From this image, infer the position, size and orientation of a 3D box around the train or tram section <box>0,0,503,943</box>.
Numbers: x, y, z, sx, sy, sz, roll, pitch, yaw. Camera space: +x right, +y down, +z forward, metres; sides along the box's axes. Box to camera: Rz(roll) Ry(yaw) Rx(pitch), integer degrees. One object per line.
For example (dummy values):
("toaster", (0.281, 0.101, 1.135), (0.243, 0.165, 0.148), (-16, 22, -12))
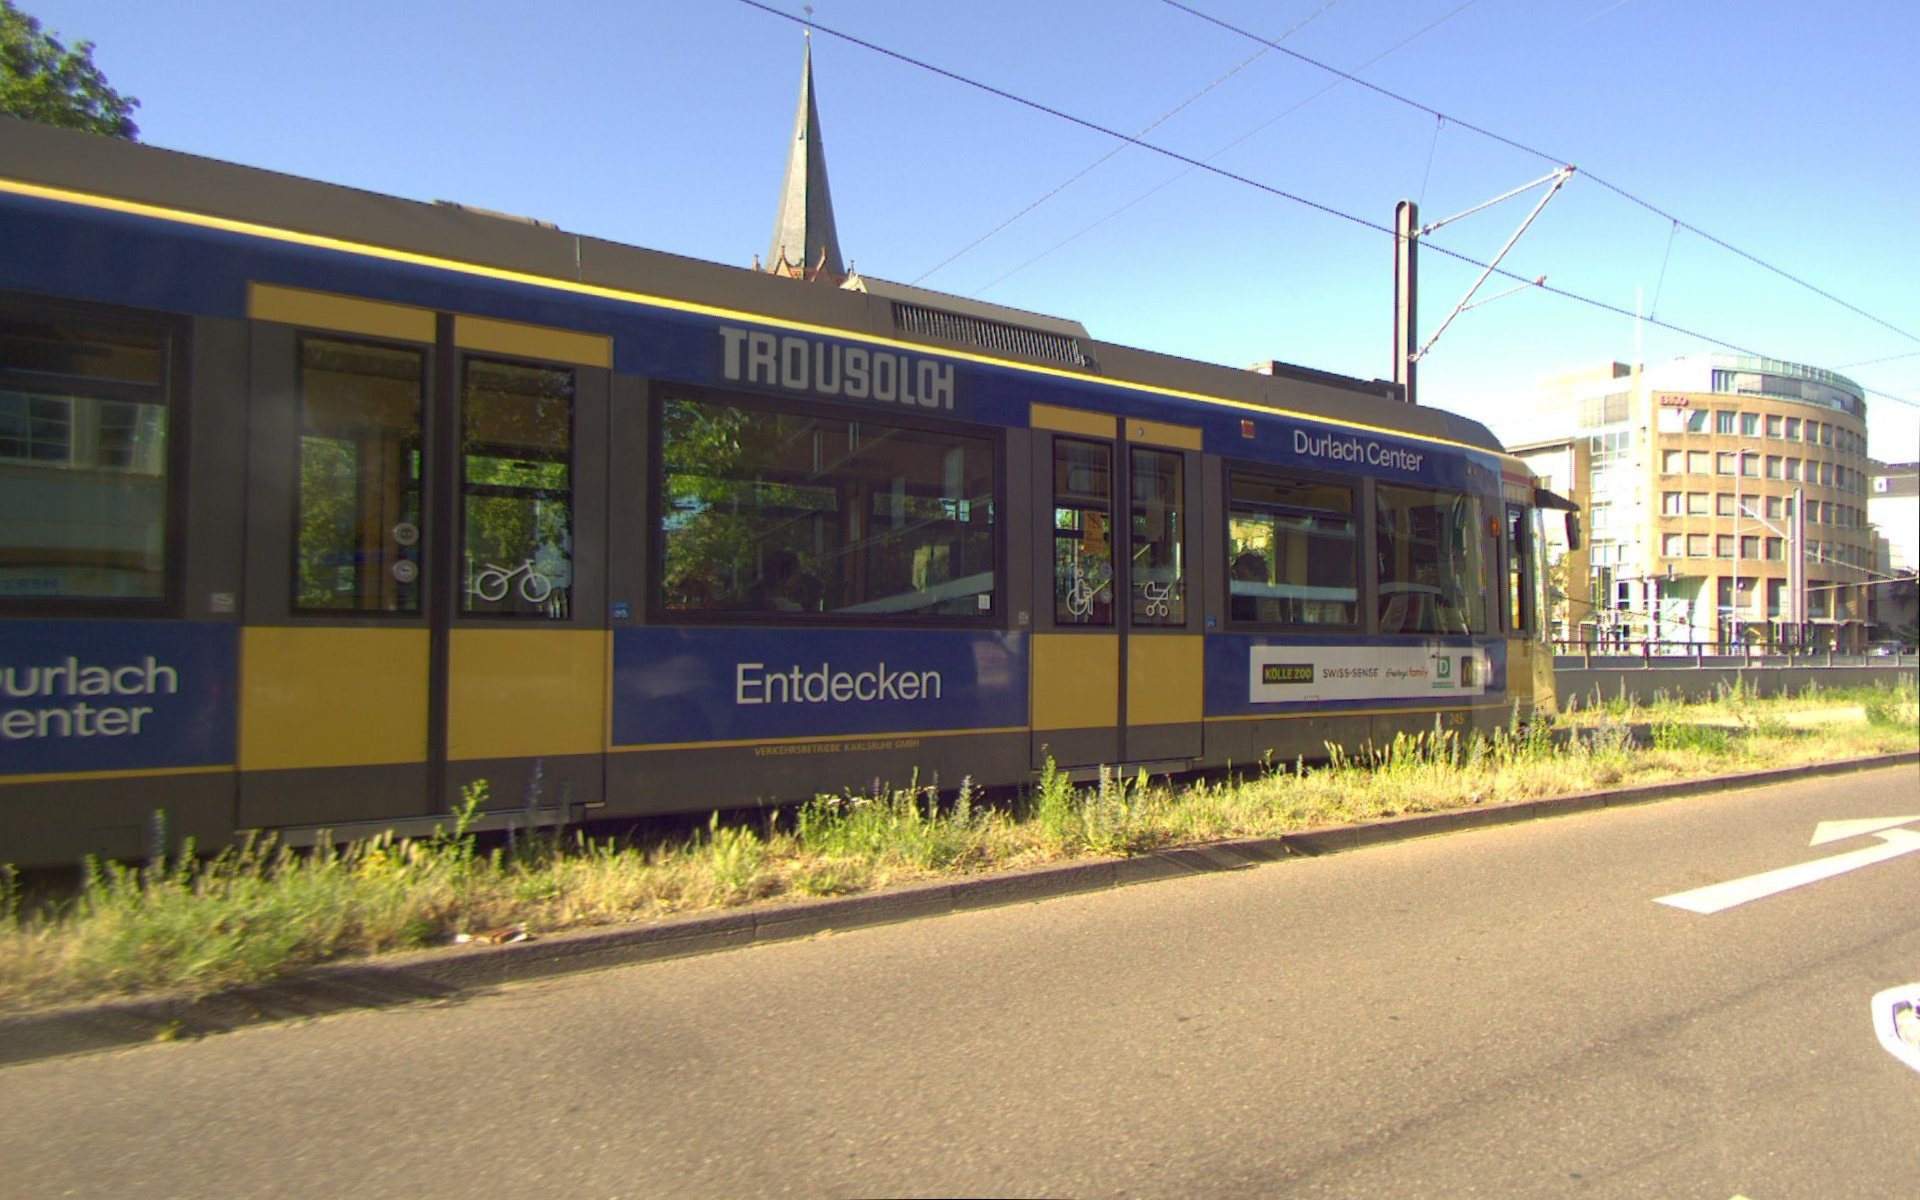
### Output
("train or tram section", (-4.572, -0.688, 5.003), (3.821, 3.949, 2.940), (2, 0, -30))

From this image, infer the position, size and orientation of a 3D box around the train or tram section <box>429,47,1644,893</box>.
("train or tram section", (1.544, -0.453, 8.703), (10.678, 3.949, 2.938), (2, 0, -31))
